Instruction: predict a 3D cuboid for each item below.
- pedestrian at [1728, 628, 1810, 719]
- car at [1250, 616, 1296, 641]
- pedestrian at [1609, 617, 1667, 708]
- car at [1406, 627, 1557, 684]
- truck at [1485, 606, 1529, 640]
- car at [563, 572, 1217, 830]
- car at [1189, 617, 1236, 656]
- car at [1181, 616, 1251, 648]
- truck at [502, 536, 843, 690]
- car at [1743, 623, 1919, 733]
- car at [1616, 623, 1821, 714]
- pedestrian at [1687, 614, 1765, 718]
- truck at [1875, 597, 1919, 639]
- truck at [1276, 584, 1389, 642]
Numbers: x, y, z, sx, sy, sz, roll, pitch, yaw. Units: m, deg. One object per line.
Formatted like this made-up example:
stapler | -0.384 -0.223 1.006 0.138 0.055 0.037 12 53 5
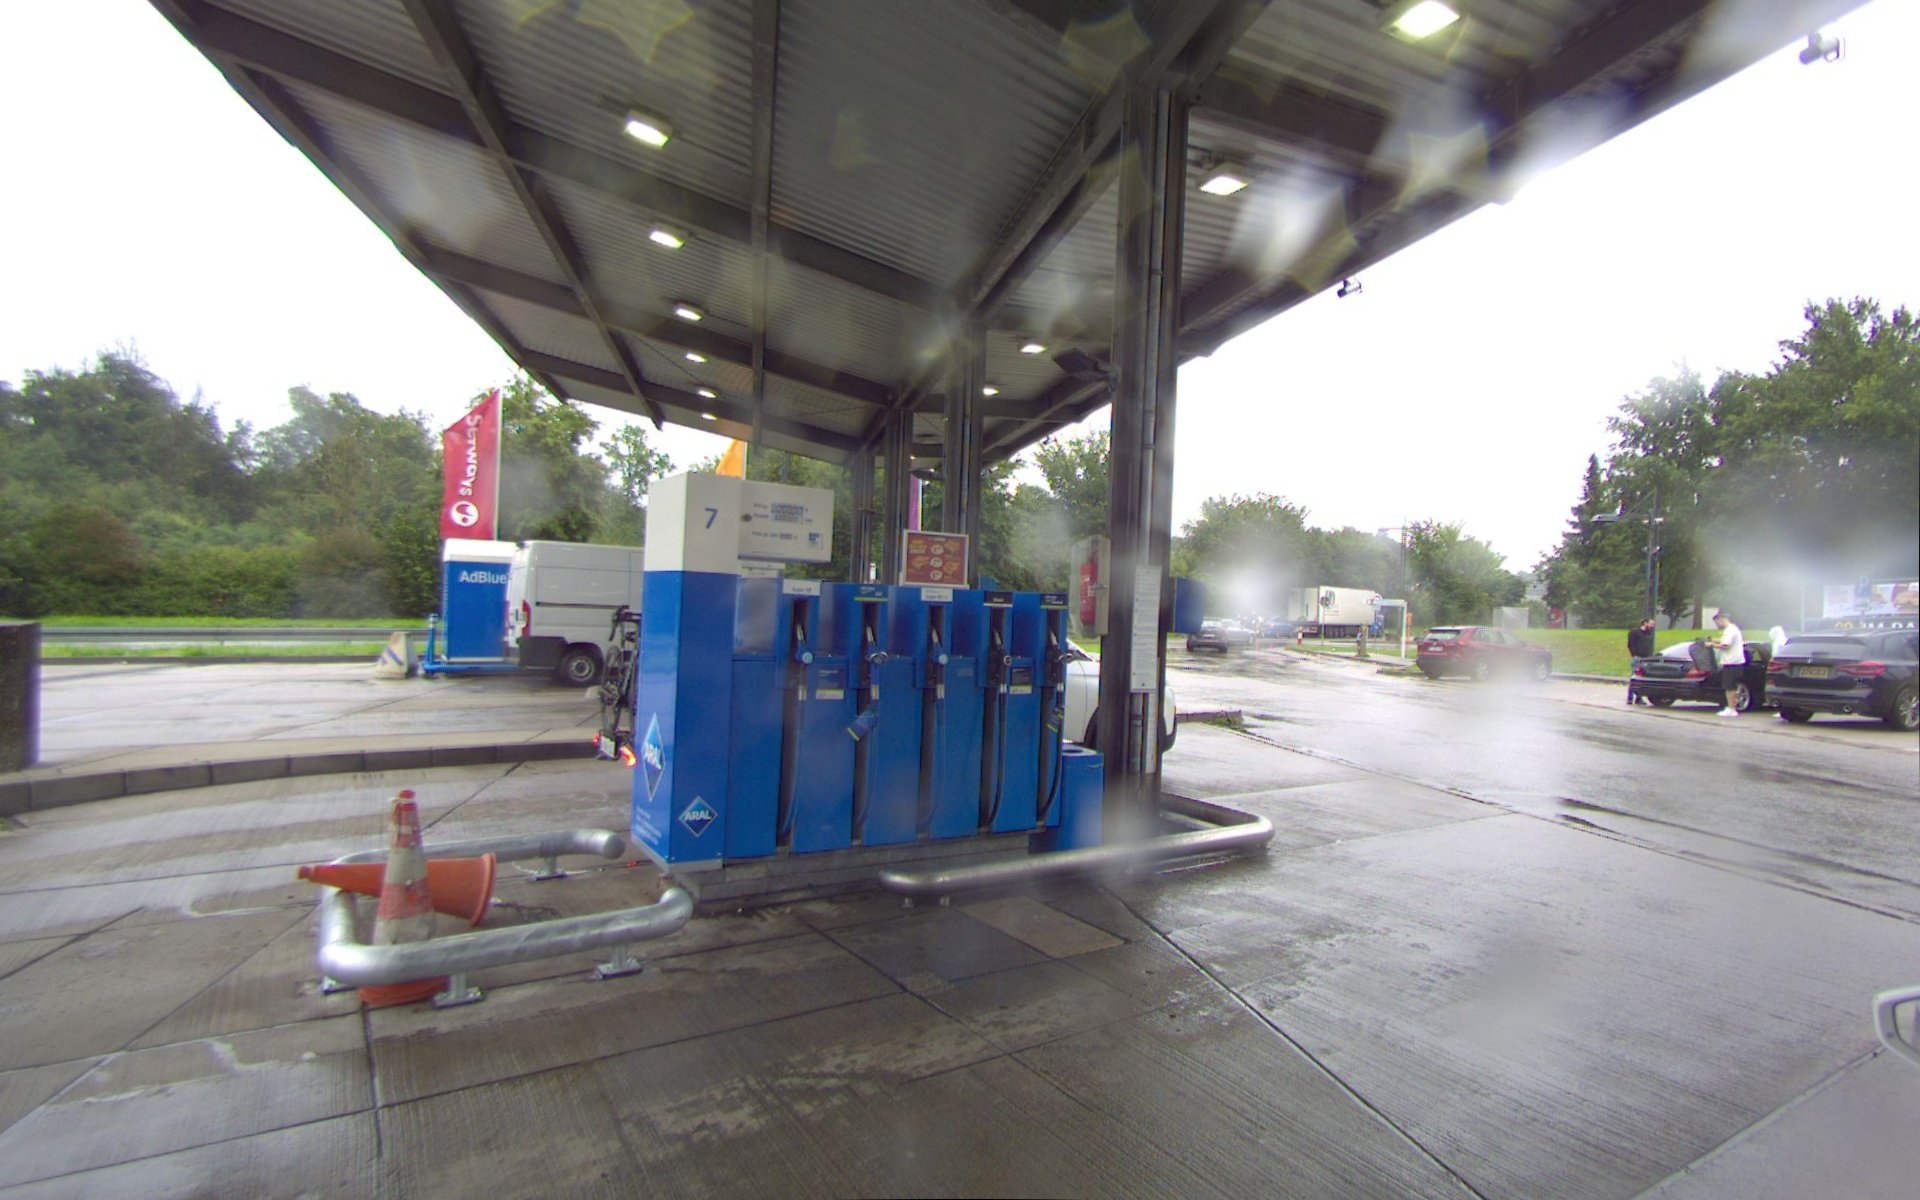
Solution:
pedestrian | 15.266 1.368 18.979 0.934 1.653 0.704 2 0 10
car | 22.910 2.056 73.433 1.787 1.704 3.934 2 0 40
pedestrian | 14.645 1.330 21.729 0.689 1.912 0.894 2 0 10
car | 16.083 1.669 30.999 4.283 1.666 1.933 1 -2 -25
truck | 53.315 2.223 98.066 2.436 3.126 7.358 2 0 18
car | -0.420 0.701 8.455 5.210 1.629 1.852 2 0 -30
car | 12.030 1.722 48.053 1.959 1.700 4.003 2 -1 12
car | 14.473 1.822 56.712 3.964 1.650 1.758 3 -1 -38
truck | -5.332 0.291 18.937 5.793 2.527 2.221 2 0 -30
car | 16.178 1.272 17.464 4.274 1.734 2.016 1 -1 -18
car | 15.948 1.357 21.087 4.293 1.734 2.007 1 -2 -31
pedestrian | 14.587 1.231 19.151 0.691 1.912 0.953 2 0 -7
truck | 68.861 1.323 71.696 5.285 2.959 2.191 2 0 -5
truck | 31.886 1.179 85.148 3.498 4.397 16.922 2 0 40
